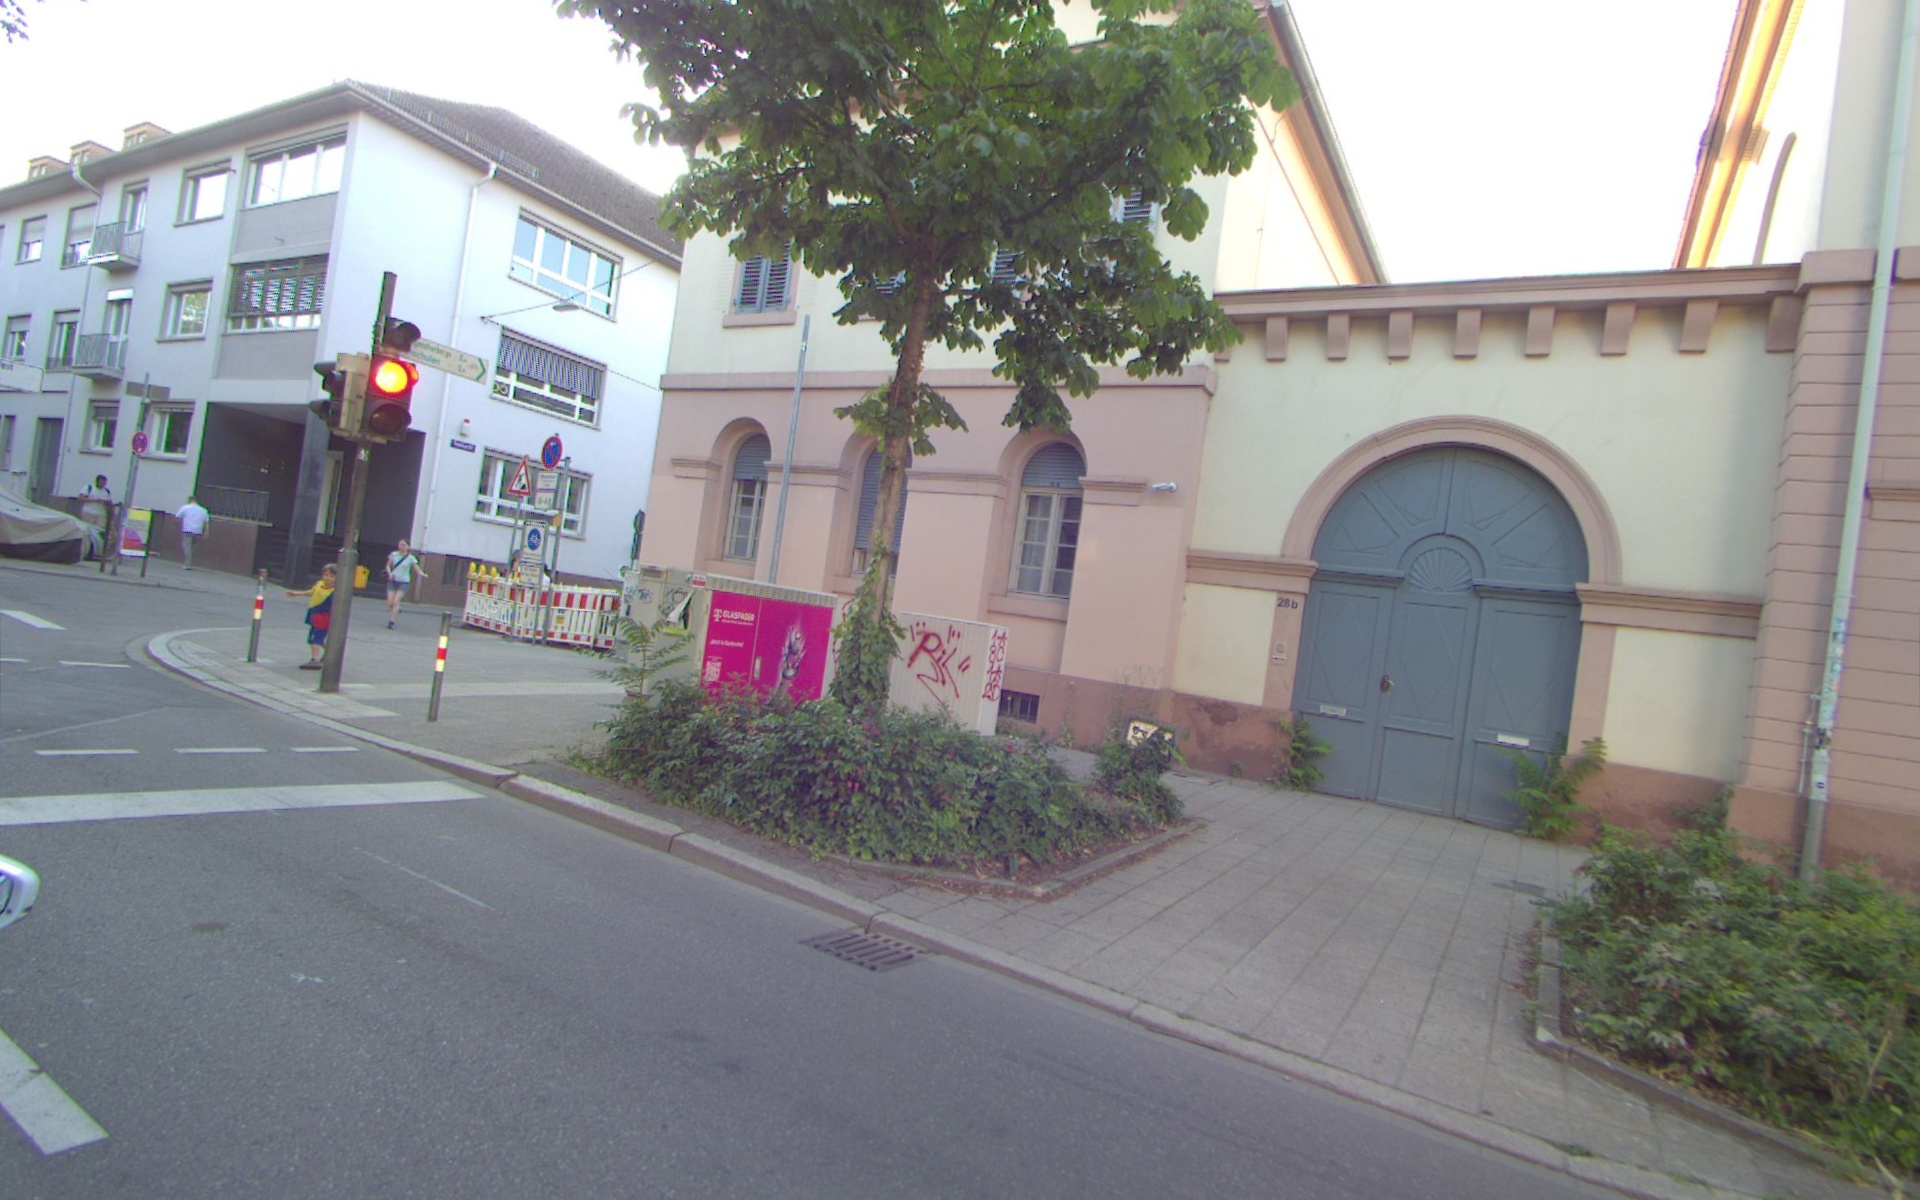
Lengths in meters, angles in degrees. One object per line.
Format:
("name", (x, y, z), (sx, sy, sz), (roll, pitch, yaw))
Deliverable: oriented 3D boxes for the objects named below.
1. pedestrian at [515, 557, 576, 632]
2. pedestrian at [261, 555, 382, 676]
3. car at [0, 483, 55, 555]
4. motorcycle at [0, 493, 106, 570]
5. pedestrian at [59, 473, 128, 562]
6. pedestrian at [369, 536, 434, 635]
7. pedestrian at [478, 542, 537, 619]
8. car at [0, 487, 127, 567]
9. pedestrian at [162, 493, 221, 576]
("pedestrian", (-9.139, -0.110, 22.206), (0.762, 1.519, 0.802), (7, 0, 18))
("pedestrian", (-6.747, 0.154, 10.663), (0.825, 1.134, 0.565), (9, 0, -18))
("car", (-22.441, -2.034, 21.629), (1.678, 1.459, 4.022), (8, -1, 32))
("motorcycle", (-17.390, -1.307, 18.957), (0.604, 1.213, 1.799), (8, -1, 41))
("pedestrian", (-19.972, -1.893, 23.181), (0.928, 1.862, 0.768), (8, -1, 33))
("pedestrian", (-9.674, -0.254, 17.419), (0.695, 1.575, 0.970), (9, -1, -35))
("pedestrian", (-11.505, -0.492, 25.570), (0.918, 1.772, 0.770), (8, -1, 32))
("car", (-19.997, -1.668, 20.685), (1.679, 1.358, 4.021), (8, -1, 32))
("pedestrian", (-17.713, -1.510, 23.186), (0.688, 1.772, 0.704), (8, -1, 36))
